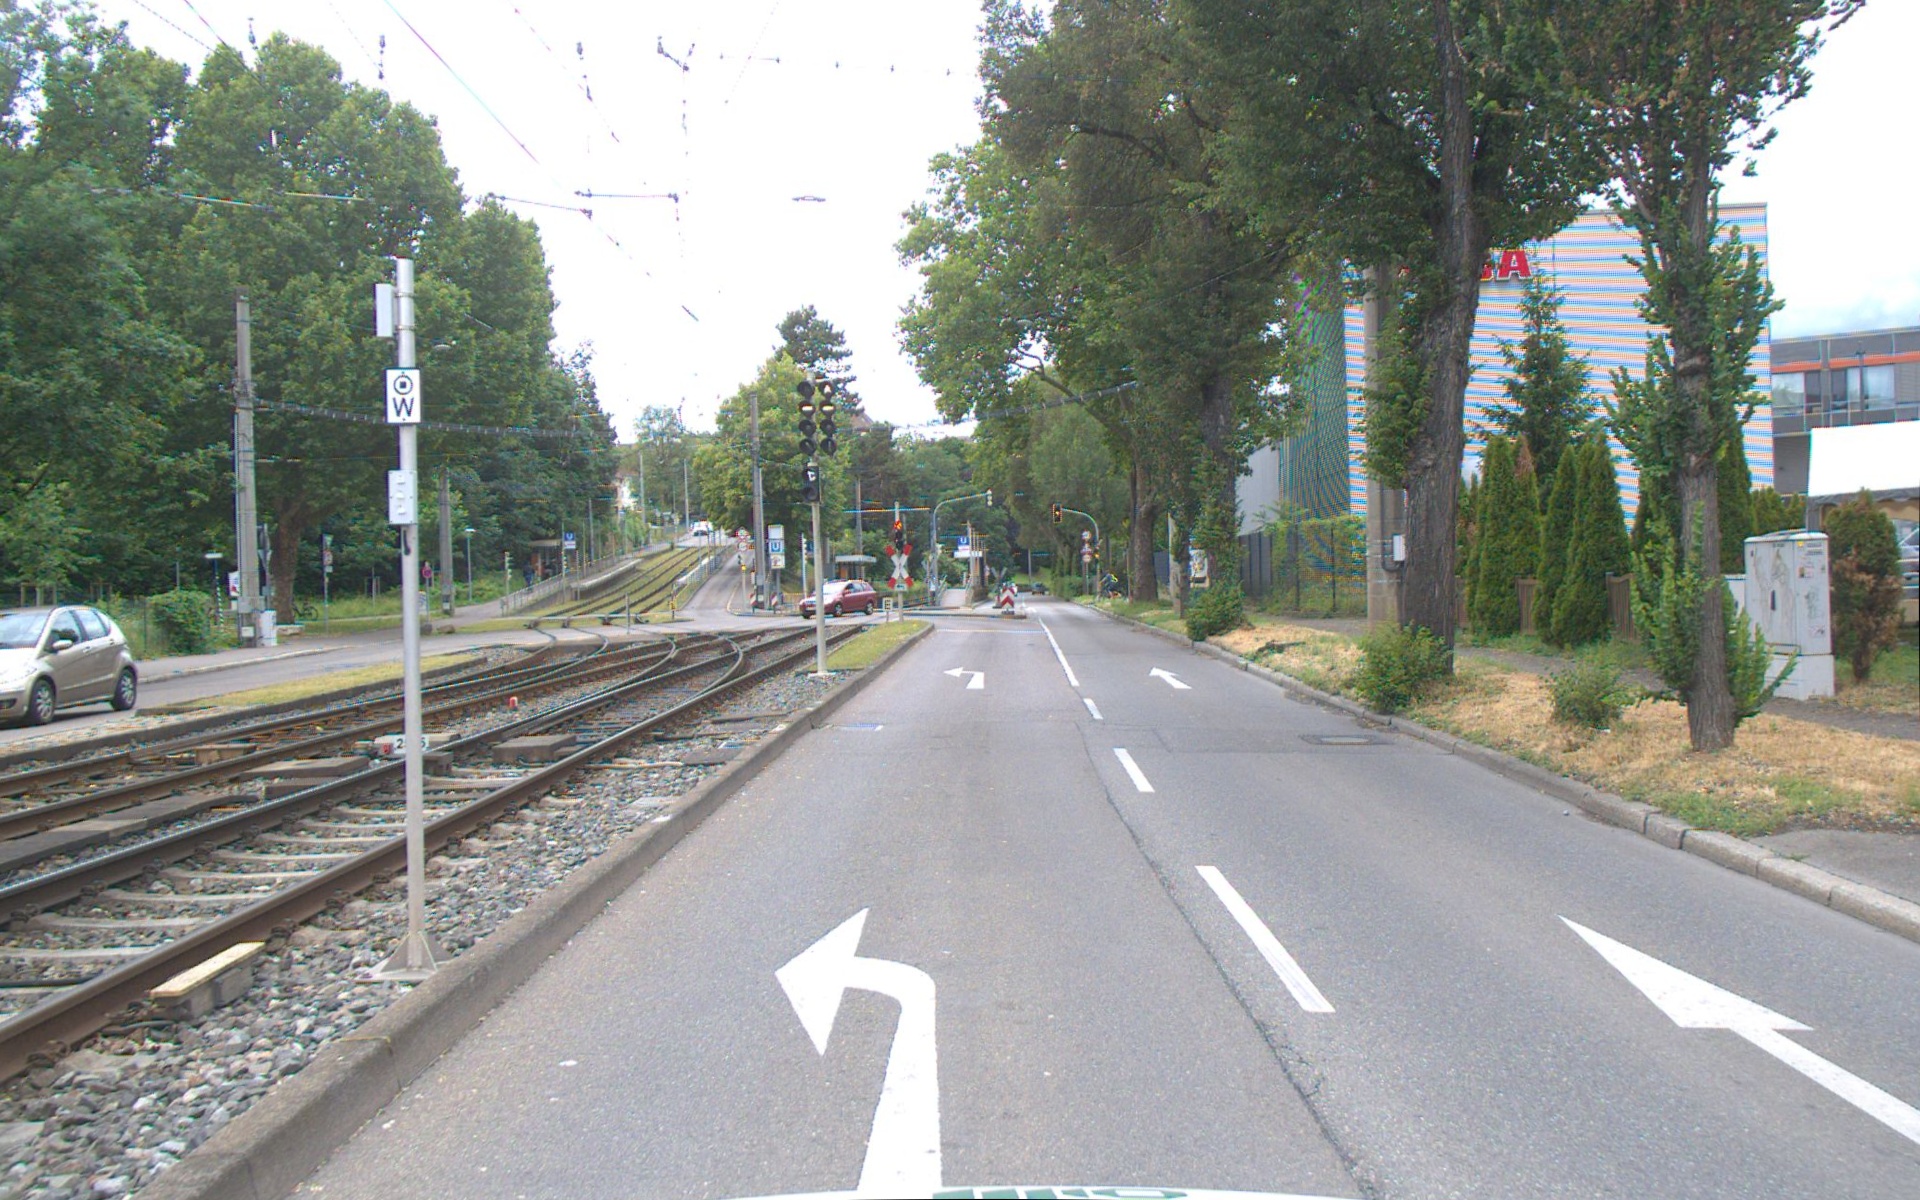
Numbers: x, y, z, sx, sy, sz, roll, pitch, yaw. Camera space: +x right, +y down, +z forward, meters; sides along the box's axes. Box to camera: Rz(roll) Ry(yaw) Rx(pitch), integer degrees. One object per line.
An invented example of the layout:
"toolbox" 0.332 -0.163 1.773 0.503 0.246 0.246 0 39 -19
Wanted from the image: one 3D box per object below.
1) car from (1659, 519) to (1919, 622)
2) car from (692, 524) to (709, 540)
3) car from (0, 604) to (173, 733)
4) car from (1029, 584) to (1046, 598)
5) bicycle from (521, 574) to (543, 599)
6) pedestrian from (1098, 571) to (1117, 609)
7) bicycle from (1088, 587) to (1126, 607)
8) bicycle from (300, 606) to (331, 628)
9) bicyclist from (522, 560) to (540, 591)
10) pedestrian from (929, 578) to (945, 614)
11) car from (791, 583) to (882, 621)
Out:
"car" 15.411 -0.533 30.889 4.273 1.735 2.000 -2 1 23
"car" -37.148 -9.774 236.714 1.954 2.048 3.998 -2 1 -2
"car" -12.927 0.949 23.224 1.854 1.558 4.252 -5 1 -4
"car" 10.434 -1.188 223.655 1.953 1.847 3.999 -2 1 -2
"bicycle" -26.154 -0.817 101.154 0.808 1.366 2.993 -2 3 -6
"pedestrian" 8.157 -0.532 91.396 0.911 2.049 0.668 -2 0 9
"bicycle" 8.125 -0.174 91.382 2.030 1.024 0.668 -2 0 8
"bicycle" -31.048 0.811 79.673 1.622 1.030 0.672 0 -1 40
"bicyclist" -26.159 -1.498 100.863 0.805 1.881 1.050 -2 3 -6
"pedestrian" -1.231 -0.231 87.899 0.753 1.885 0.910 -2 0 -2
"car" -5.249 0.061 71.000 1.954 1.542 4.498 -1 1 25
